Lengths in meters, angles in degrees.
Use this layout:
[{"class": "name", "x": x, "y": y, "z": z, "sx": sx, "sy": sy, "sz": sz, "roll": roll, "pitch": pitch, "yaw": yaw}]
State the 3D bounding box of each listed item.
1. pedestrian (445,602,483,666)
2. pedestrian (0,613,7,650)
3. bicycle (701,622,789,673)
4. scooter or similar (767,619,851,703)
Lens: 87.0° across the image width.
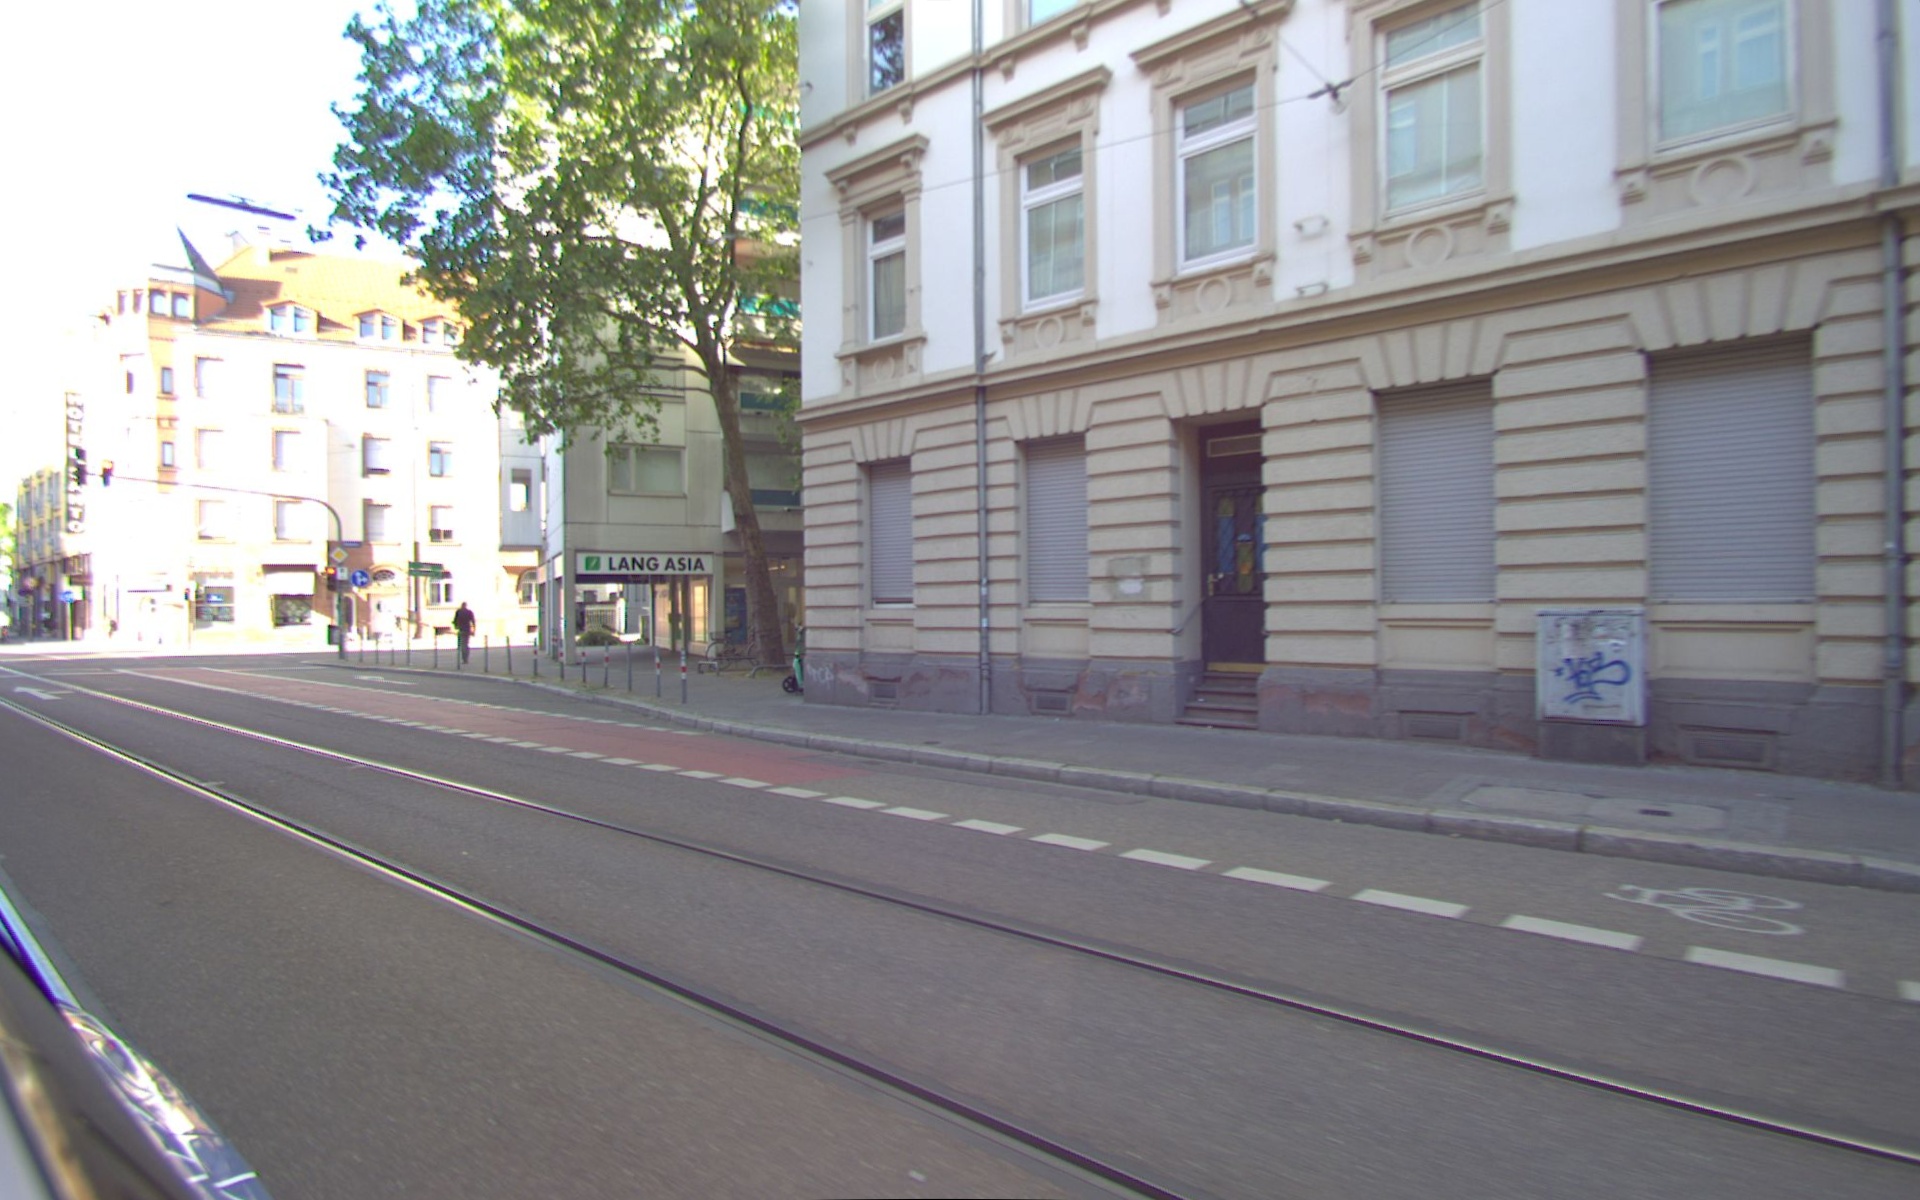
[{"class": "pedestrian", "x": -14.788, "y": 1.003, "z": 30.171, "sx": 0.809, "sy": 1.861, "sz": 0.784, "roll": -1, "pitch": 0, "yaw": 44}, {"class": "pedestrian", "x": -53.000, "y": 1.712, "z": 55.657, "sx": 0.718, "sy": 2.029, "sz": 0.746, "roll": -1, "pitch": 0, "yaw": 41}, {"class": "bicycle", "x": -5.263, "y": 1.147, "z": 24.811, "sx": 2.012, "sy": 1.134, "sz": 0.708, "roll": -1, "pitch": 0, "yaw": -21}, {"class": "scooter or similar", "x": -2.466, "y": 0.958, "z": 16.413, "sx": 1.382, "sy": 1.284, "sz": 0.572, "roll": -1, "pitch": 0, "yaw": 41}]
